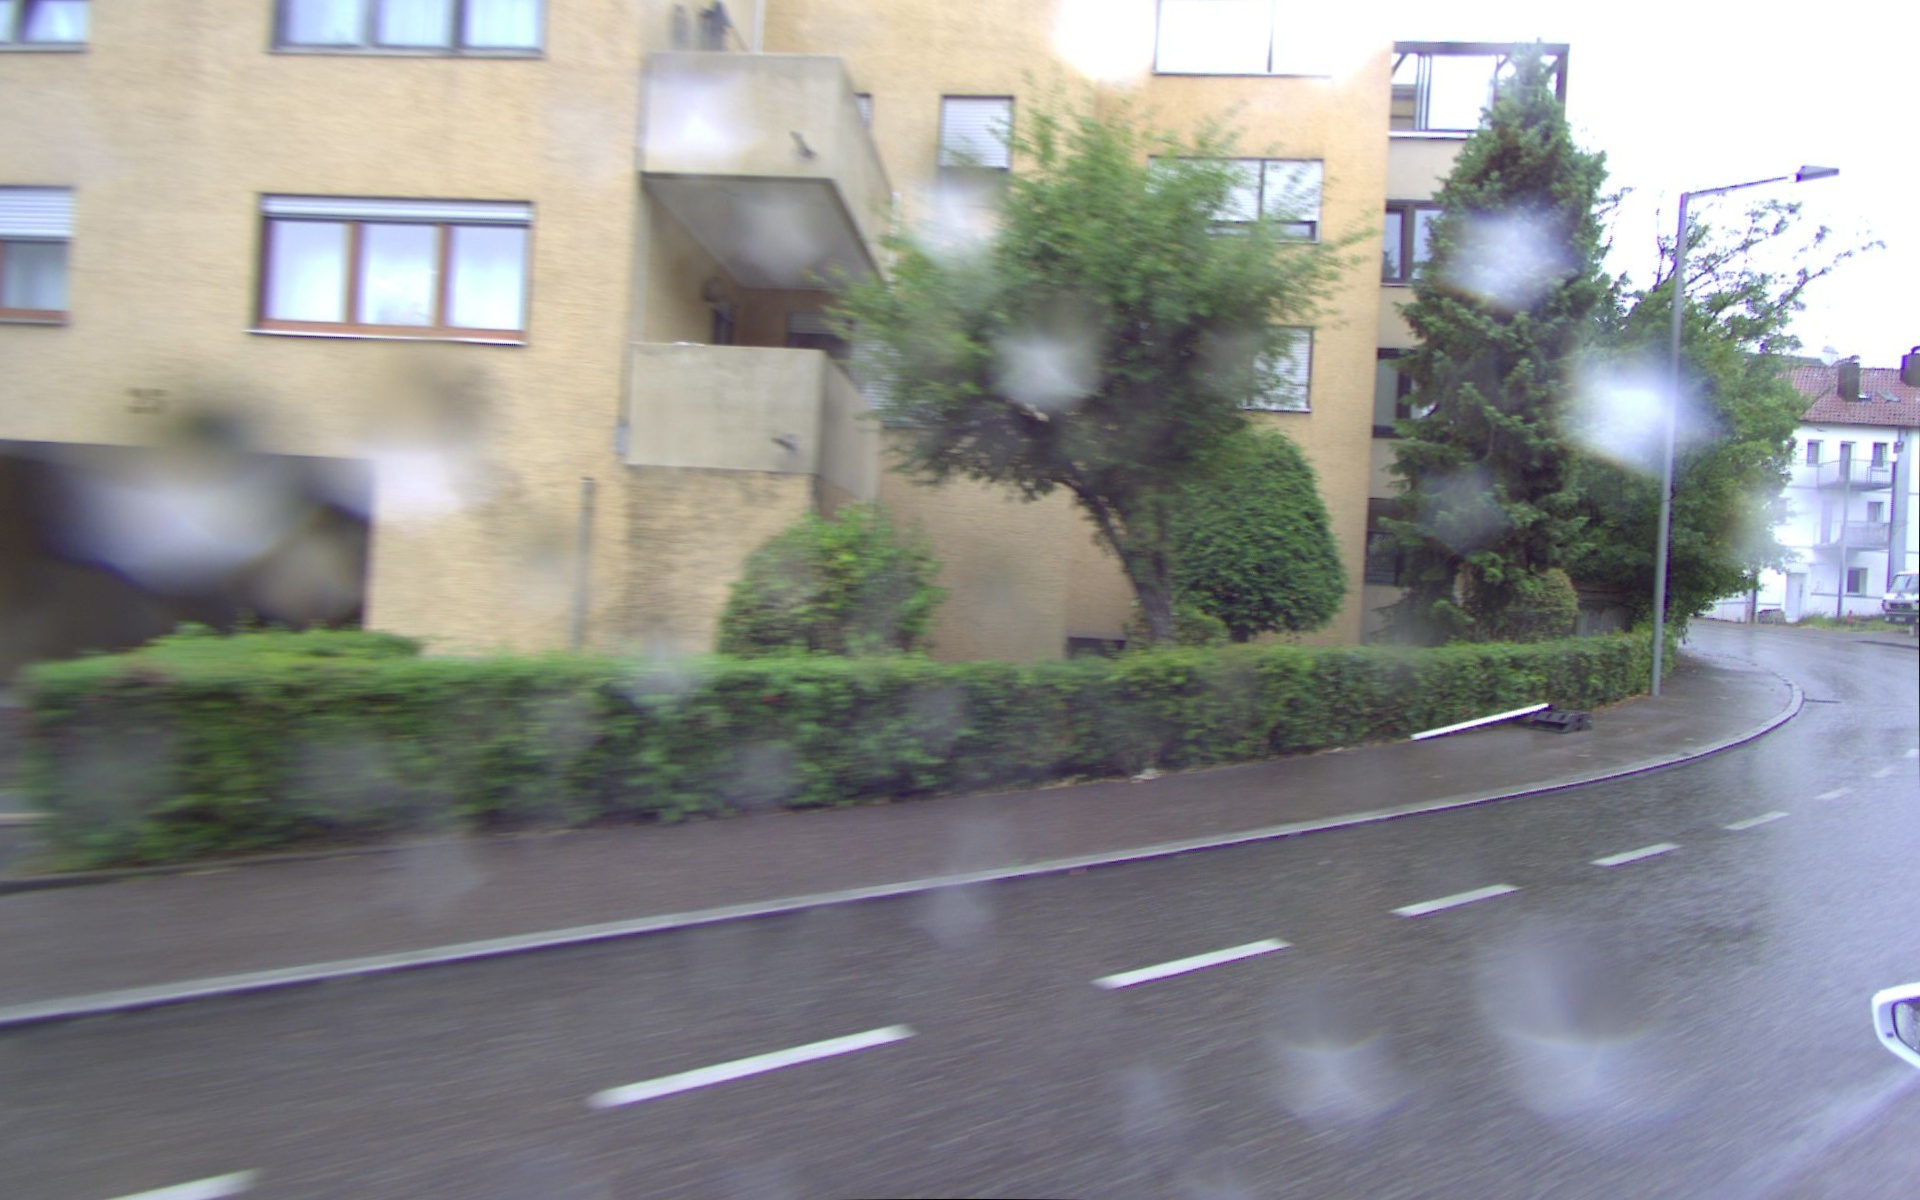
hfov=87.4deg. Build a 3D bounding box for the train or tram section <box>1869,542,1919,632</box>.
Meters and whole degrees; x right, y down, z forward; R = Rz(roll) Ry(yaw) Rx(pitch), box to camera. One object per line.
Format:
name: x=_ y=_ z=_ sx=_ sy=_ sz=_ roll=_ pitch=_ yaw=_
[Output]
train or tram section: x=38.028 y=-0.439 z=36.858 sx=6.730 sy=3.246 sz=2.367 roll=0 pitch=0 yaw=8
